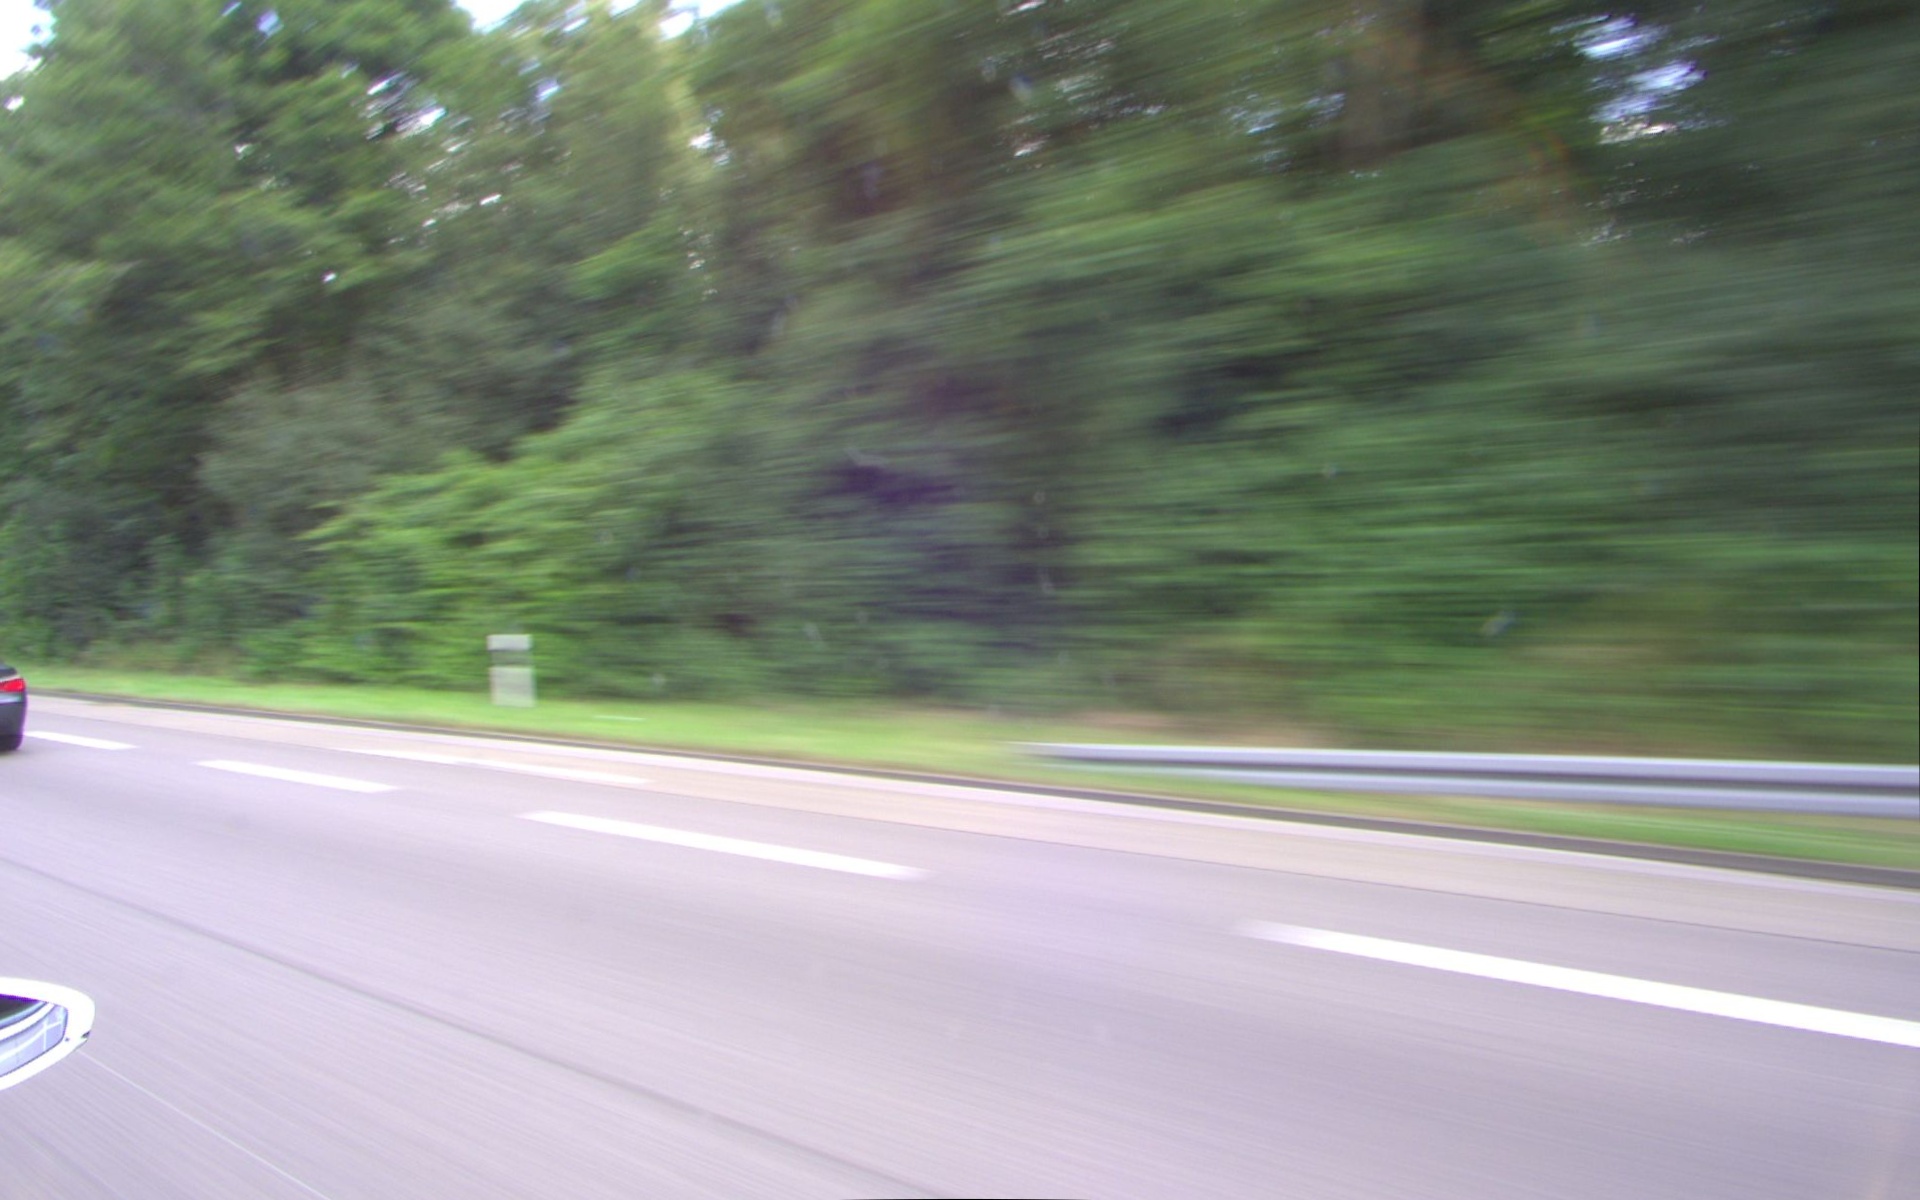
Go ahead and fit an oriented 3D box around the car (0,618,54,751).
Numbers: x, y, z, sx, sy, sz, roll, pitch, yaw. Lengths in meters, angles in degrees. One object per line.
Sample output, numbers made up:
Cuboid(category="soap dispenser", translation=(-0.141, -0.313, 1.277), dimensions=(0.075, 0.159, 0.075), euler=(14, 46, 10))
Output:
Cuboid(category="car", translation=(-13.054, 0.966, 12.194), dimensions=(4.810, 1.494, 1.771), euler=(-1, -2, 32))
